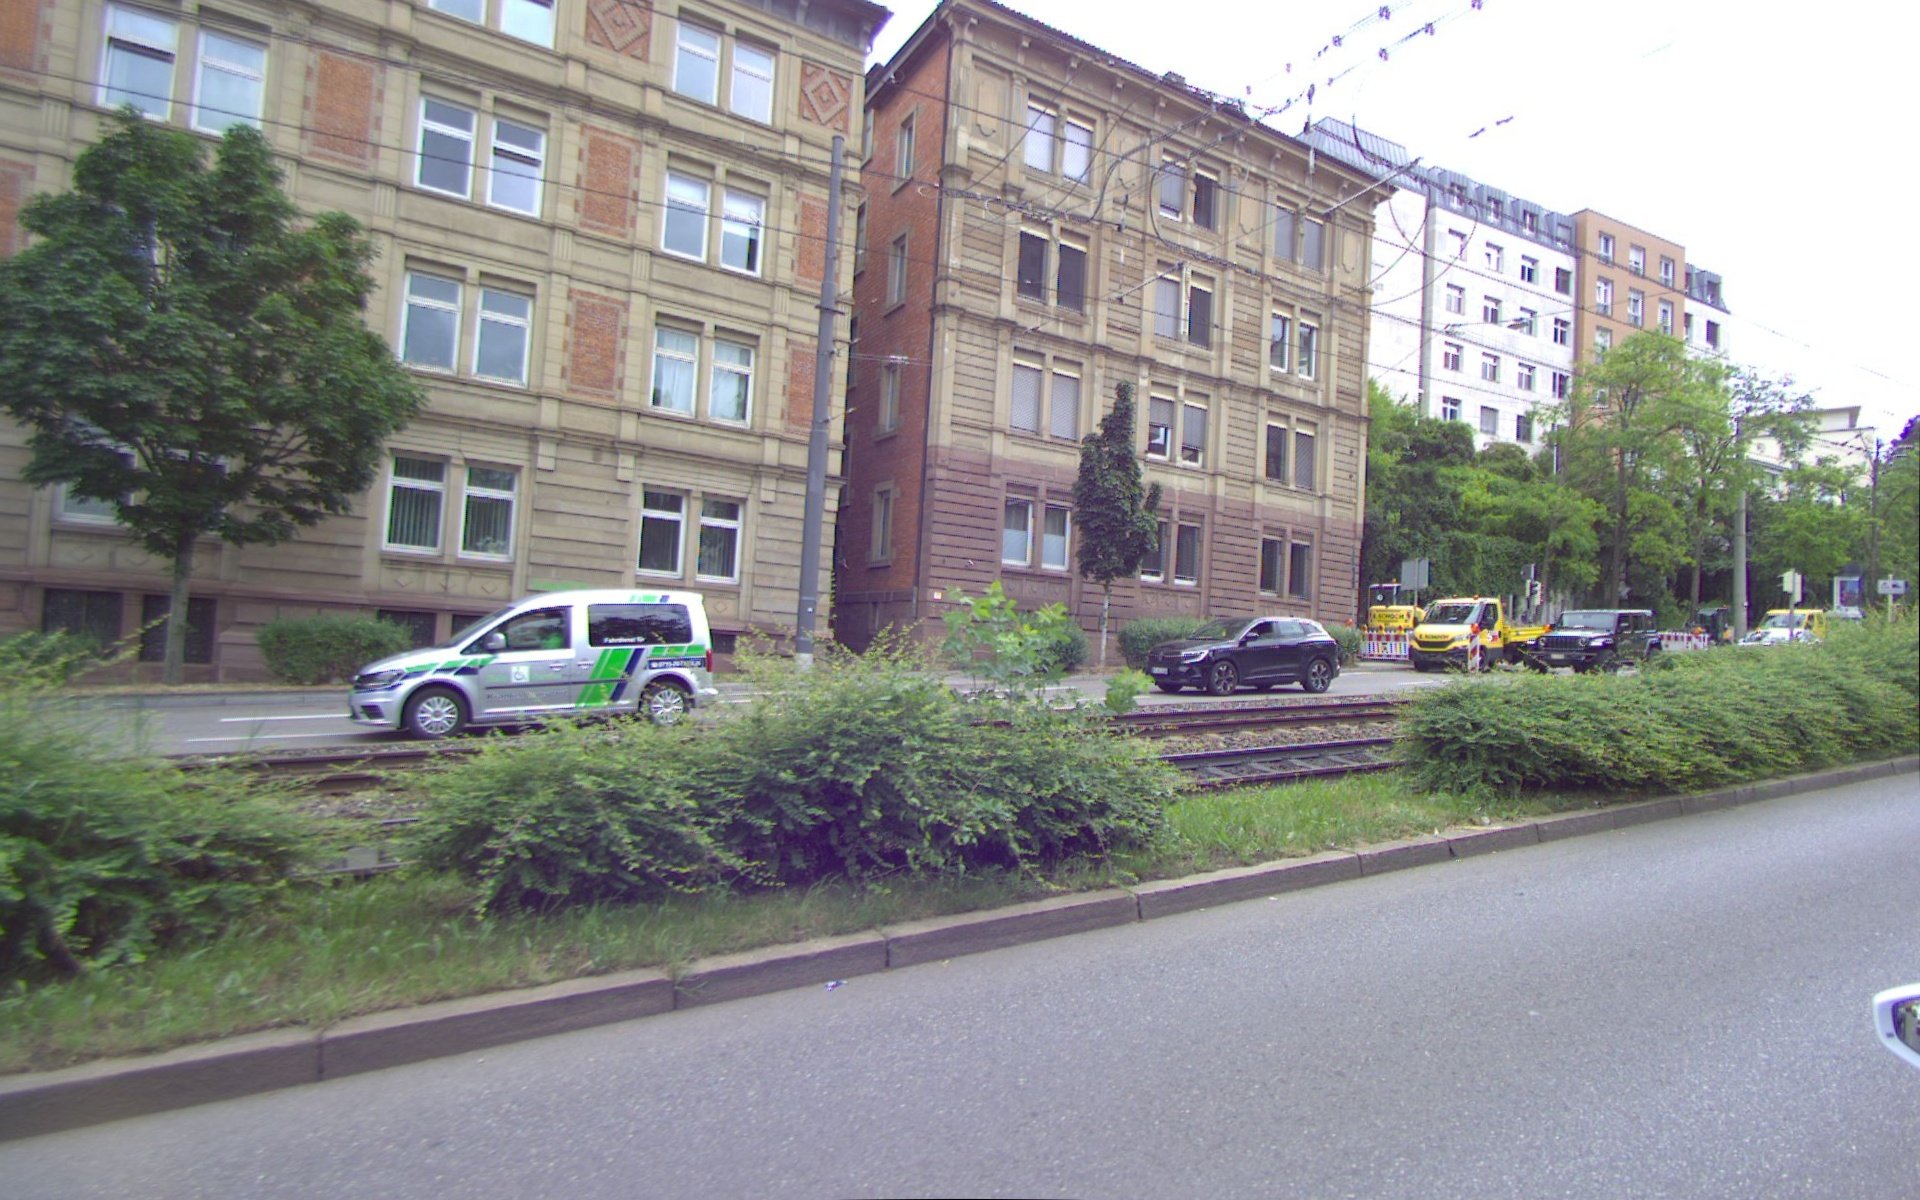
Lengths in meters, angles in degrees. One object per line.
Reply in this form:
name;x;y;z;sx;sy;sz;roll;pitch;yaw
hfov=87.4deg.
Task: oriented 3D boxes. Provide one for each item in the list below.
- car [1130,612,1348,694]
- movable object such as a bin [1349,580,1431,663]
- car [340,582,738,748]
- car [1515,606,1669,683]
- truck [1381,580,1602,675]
car;5.907;1.109;21.161;4.383;1.575;1.857;2;-2;-28
movable object such as a bin;15.493;0.772;36.209;2.010;2.875;1.980;2;-2;-36
car;-5.322;0.791;12.929;4.466;1.811;1.870;1;-3;-32
car;17.090;1.180;27.091;4.596;1.901;1.887;2;0;-35
truck;16.775;0.931;31.573;7.073;2.542;2.903;4;-3;-31
